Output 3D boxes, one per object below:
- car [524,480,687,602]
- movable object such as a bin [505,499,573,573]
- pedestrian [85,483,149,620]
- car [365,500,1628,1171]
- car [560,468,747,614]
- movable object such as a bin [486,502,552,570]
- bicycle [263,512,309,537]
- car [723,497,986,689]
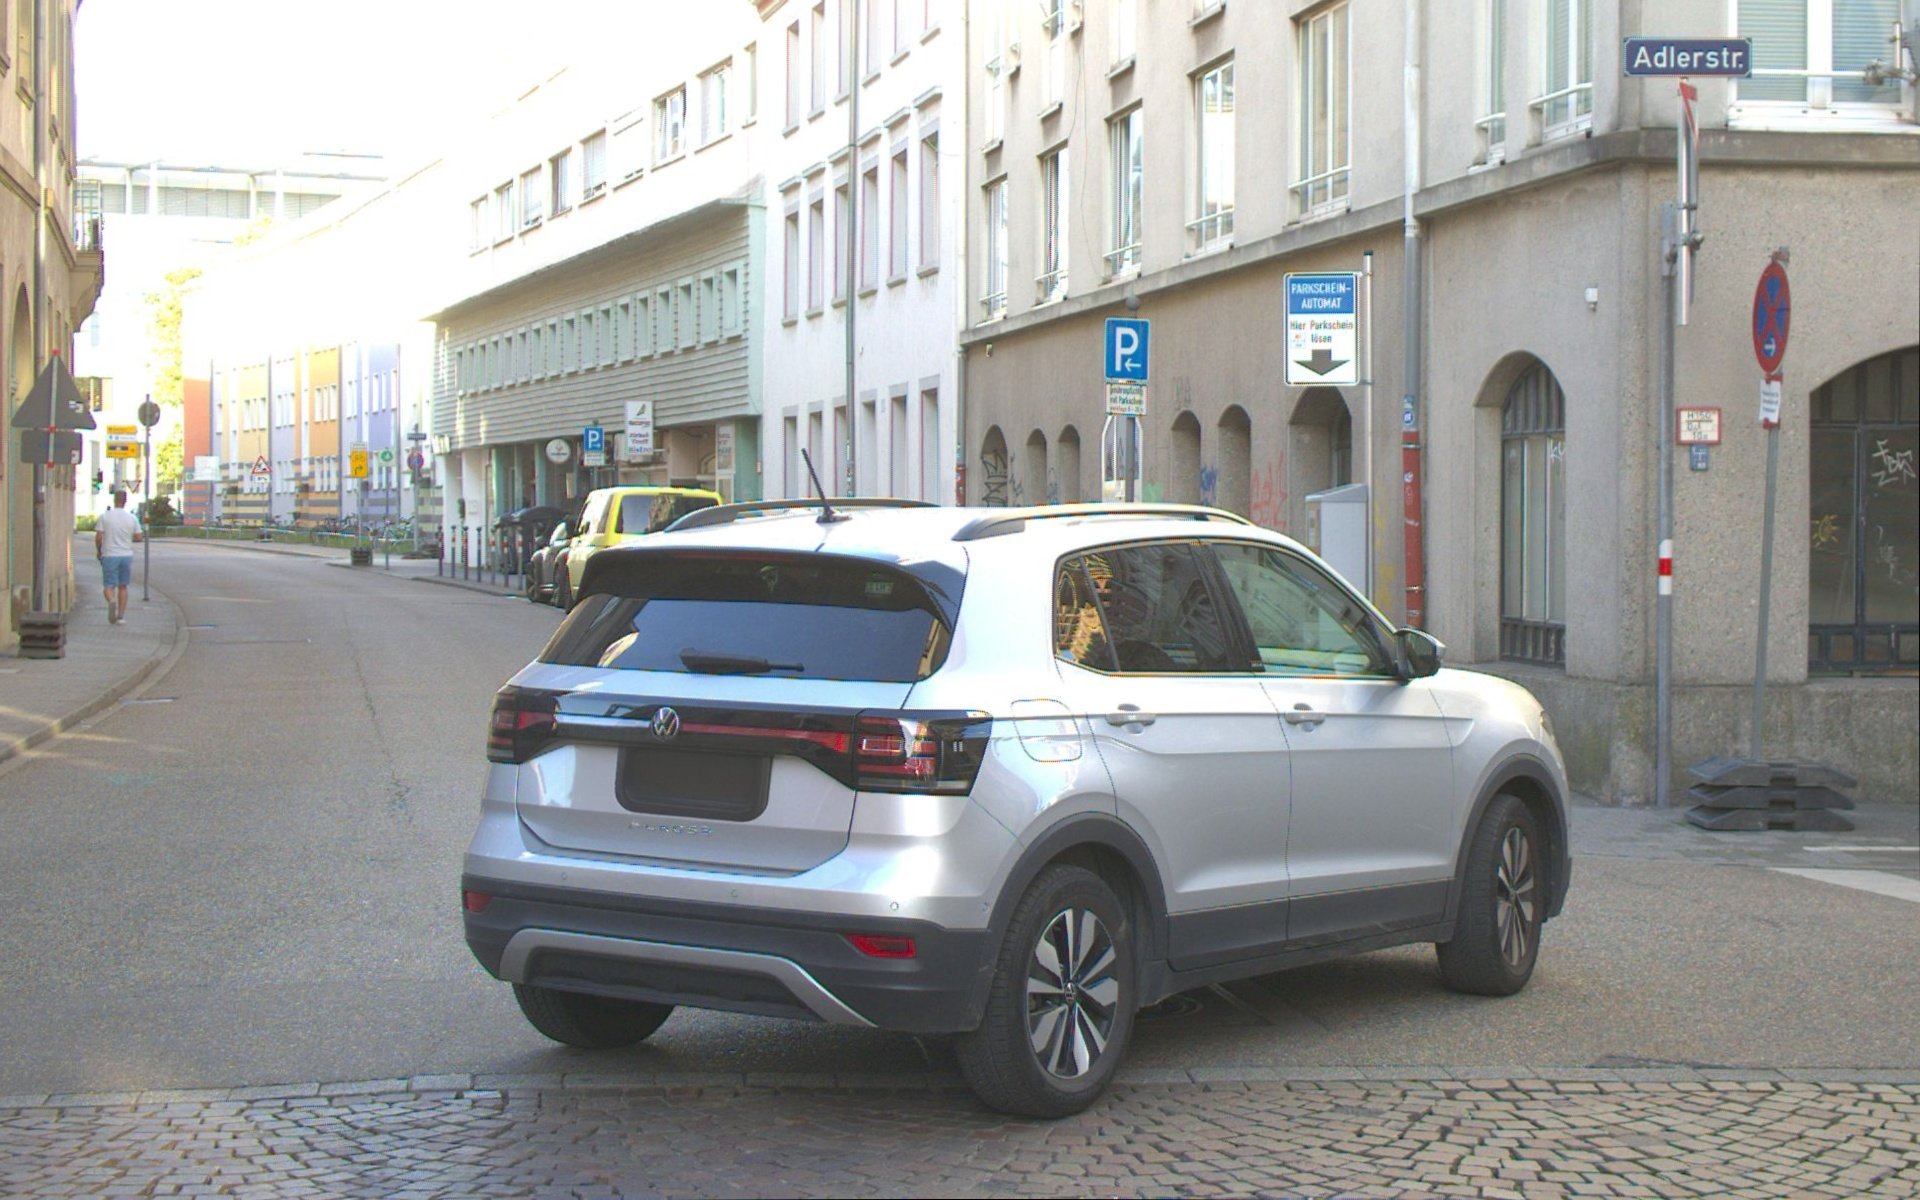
[{"bbox_3d":[-5.729,-0.975,55.137,2.052,1.866,4.102,0,2,-14],"label":"car"},{"bbox_3d":[-9.006,-1.382,73.500,1.131,1.552,1.740,0,2,-17],"label":"movable object such as a bin"},{"bbox_3d":[-10.614,-0.614,43.284,0.765,1.718,0.687,0,1,-15],"label":"pedestrian"},{"bbox_3d":[0.318,0.496,10.245,1.840,1.556,3.992,1,2,35],"label":"car"},{"bbox_3d":[-4.456,-0.880,49.382,2.052,2.006,4.176,0,2,-14],"label":"car"},{"bbox_3d":[-9.645,-1.409,75.186,1.131,1.474,1.740,0,2,-17],"label":"movable object such as a bin"},{"bbox_3d":[-26.964,-3.023,137.482,1.780,0.997,0.547,0,1,-15],"label":"bicycle"},{"bbox_3d":[-1.088,-0.120,33.009,1.967,1.686,4.102,1,2,-9],"label":"car"}]
